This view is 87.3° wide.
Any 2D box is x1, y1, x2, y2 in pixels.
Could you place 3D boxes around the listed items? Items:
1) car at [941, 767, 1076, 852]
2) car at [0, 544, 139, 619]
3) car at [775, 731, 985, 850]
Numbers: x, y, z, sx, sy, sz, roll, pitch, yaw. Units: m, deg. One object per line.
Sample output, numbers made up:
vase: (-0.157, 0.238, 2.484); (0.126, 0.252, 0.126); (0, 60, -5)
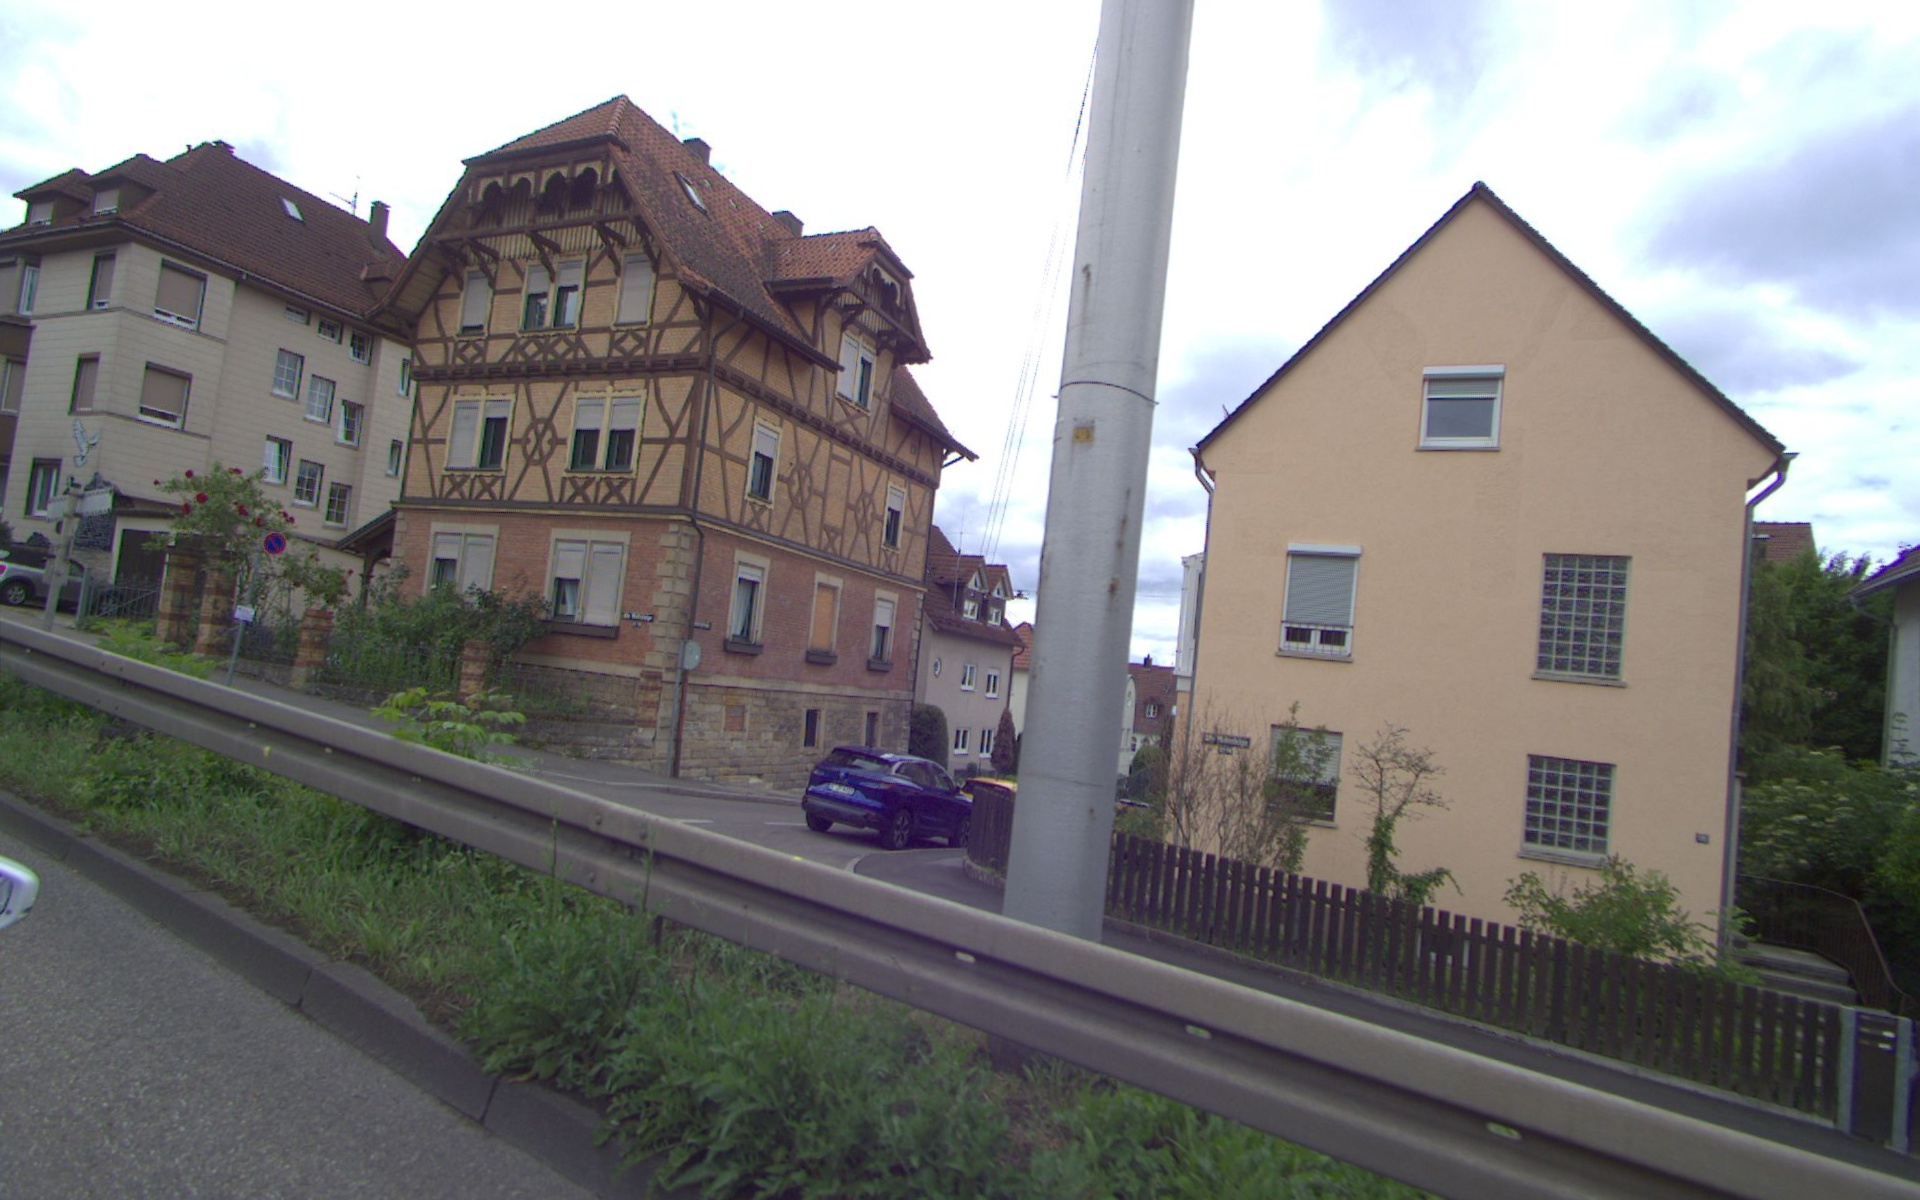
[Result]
car: (1.250, 4.976, 23.605); (1.647, 1.472, 4.018); (8, -10, 25)
car: (-24.224, -0.536, 26.491); (1.672, 1.448, 3.626); (9, -5, 11)
car: (-1.327, 3.543, 18.507); (1.964, 1.586, 4.014); (8, -8, 25)
